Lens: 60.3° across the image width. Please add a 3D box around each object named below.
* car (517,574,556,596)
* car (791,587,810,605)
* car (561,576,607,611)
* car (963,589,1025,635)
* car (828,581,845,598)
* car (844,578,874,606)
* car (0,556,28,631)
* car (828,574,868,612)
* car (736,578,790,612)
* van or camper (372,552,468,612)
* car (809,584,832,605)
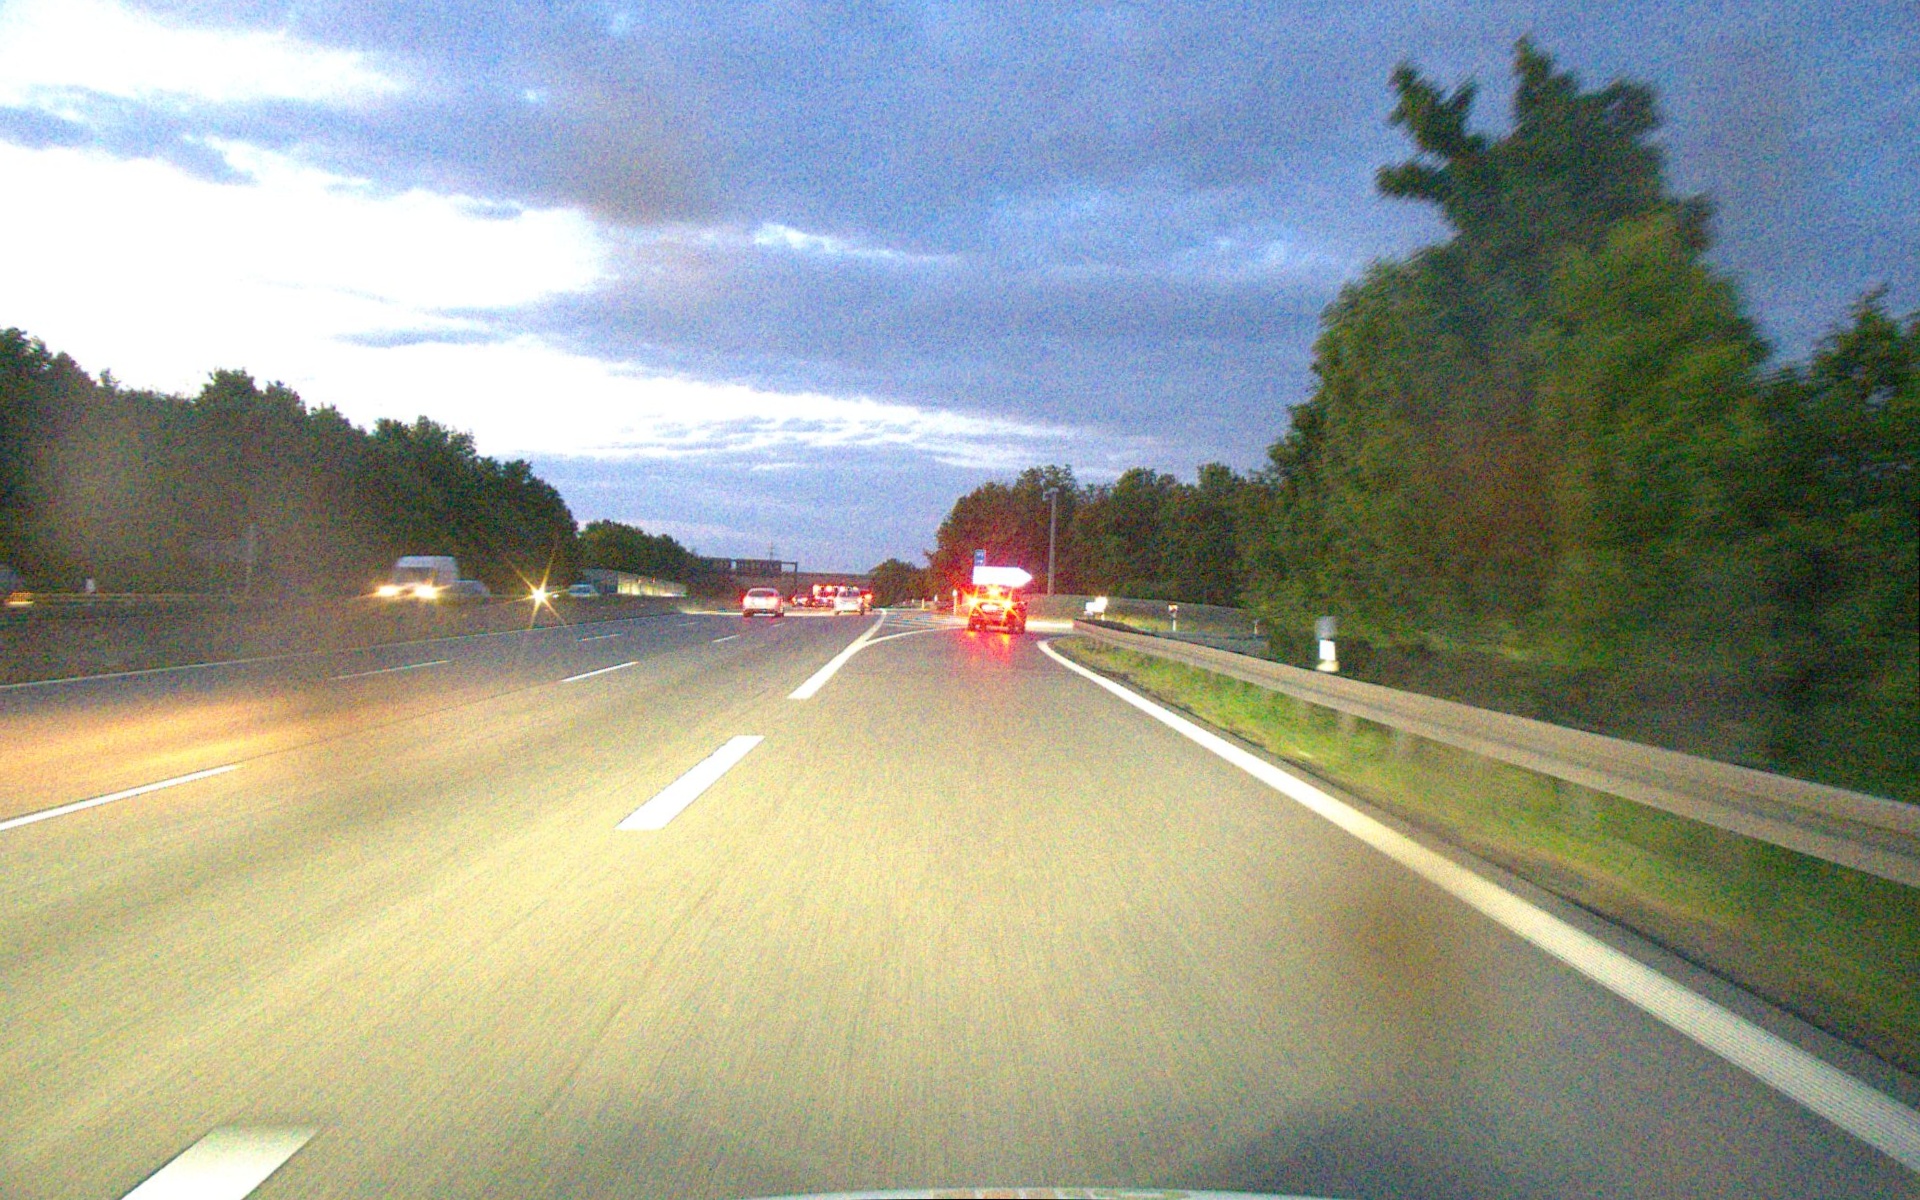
[{"bbox_3d":[-31.753,-1.138,124.141,1.953,1.576,3.999,2,0,-2],"label":"car"},{"bbox_3d":[-18.466,-0.434,191.989,2.063,2.049,3.997,-1,1,-4],"label":"car"},{"bbox_3d":[-23.106,-0.421,101.774,1.953,2.049,3.999,2,0,-1],"label":"car"},{"bbox_3d":[1.351,0.446,64.497,1.951,1.688,4.318,1,0,7],"label":"car"},{"bbox_3d":[-15.441,-1.271,206.852,1.955,2.049,3.994,0,0,-6],"label":"car"},{"bbox_3d":[-7.590,-0.612,124.966,1.952,2.049,4.000,0,1,1],"label":"car"},{"bbox_3d":[-27.321,-0.180,44.726,1.987,2.049,4.236,1,1,-3],"label":"car"},{"bbox_3d":[-6.294,-0.412,93.574,1.953,2.049,4.000,1,0,0],"label":"car"},{"bbox_3d":[-9.923,-0.272,83.645,1.952,1.671,4.557,0,1,3],"label":"car"},{"bbox_3d":[-25.189,-0.810,77.449,2.466,2.640,6.487,1,0,-2],"label":"van or camper"},{"bbox_3d":[-13.696,-0.596,162.931,2.029,2.049,3.999,0,1,-1],"label":"car"}]
